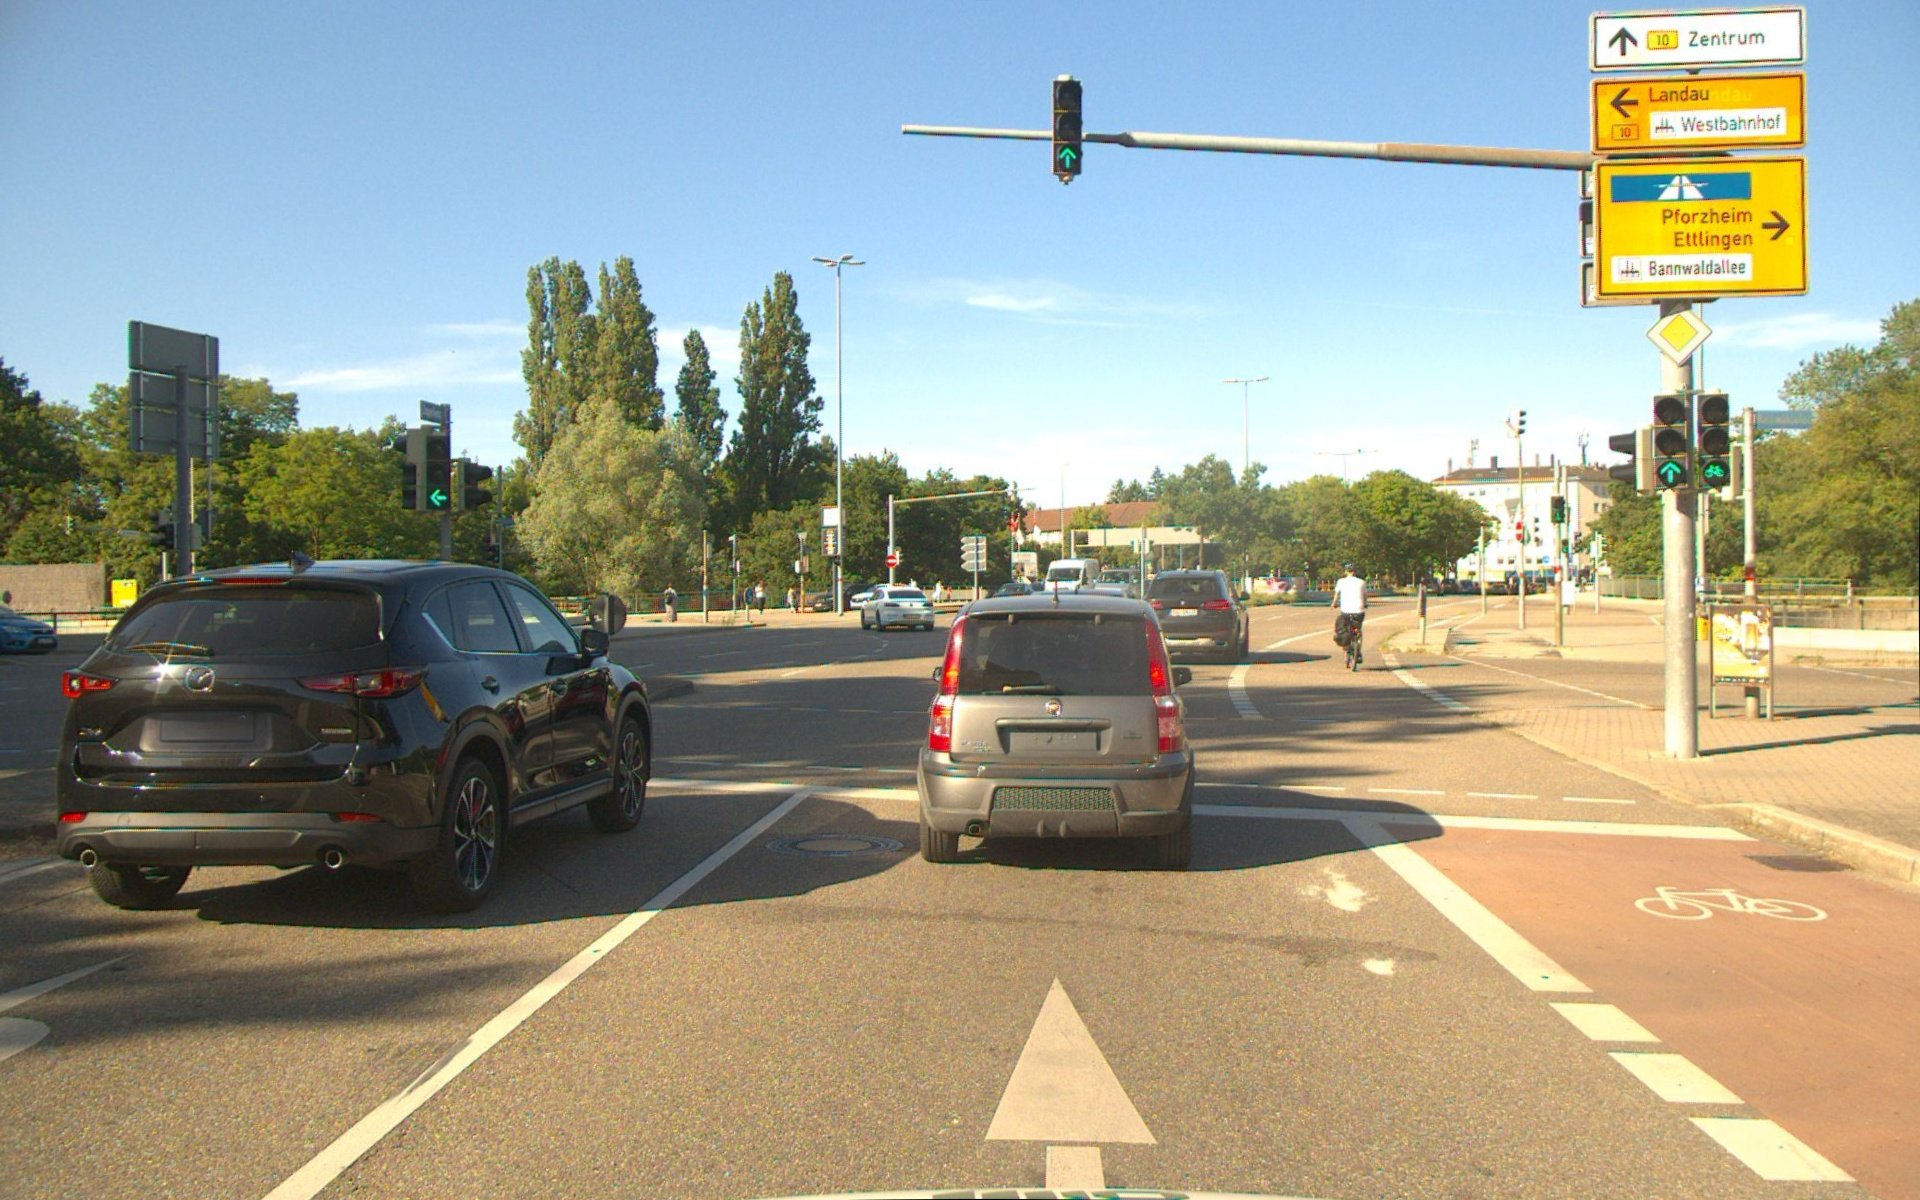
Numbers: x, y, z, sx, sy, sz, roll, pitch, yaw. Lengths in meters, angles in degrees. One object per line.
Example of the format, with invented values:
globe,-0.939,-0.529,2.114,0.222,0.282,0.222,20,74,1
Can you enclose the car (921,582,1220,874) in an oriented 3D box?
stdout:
car,0.711,0.665,10.812,1.583,1.542,3.822,1,1,4

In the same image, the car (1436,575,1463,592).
car,44.692,-1.487,150.941,1.906,1.555,4.096,0,1,23

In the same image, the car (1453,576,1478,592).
car,51.095,-1.641,167.193,1.906,1.555,4.096,0,1,23

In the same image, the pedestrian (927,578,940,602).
pedestrian,-1.837,-0.704,115.953,0.705,1.670,0.672,0,-1,20

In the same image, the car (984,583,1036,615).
car,2.558,-0.060,84.274,1.895,1.534,4.004,-2,0,12

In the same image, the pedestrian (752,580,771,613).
pedestrian,-9.798,-0.174,81.724,0.700,1.574,0.723,-1,-1,-25

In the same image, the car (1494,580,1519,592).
car,72.159,-1.837,218.432,1.913,1.555,4.081,0,1,37

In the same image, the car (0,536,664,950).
car,-3.062,0.591,9.084,1.835,1.739,4.199,-1,0,4

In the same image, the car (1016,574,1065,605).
car,4.466,-0.599,91.285,1.772,1.568,4.621,-2,0,14

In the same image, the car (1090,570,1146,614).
car,7.662,-0.429,79.884,1.895,2.043,4.935,-1,1,15

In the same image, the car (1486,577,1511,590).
car,65.567,-1.996,201.301,1.910,1.555,4.088,0,1,32

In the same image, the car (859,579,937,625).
car,-2.058,0.044,53.706,1.750,1.439,4.305,-1,1,-13

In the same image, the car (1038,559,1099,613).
car,5.527,-0.727,83.337,1.895,2.621,6.093,-1,1,15

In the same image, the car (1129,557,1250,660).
car,4.566,0.143,32.385,1.904,1.872,4.156,-1,0,14

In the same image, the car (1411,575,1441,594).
car,38.629,-1.288,136.944,1.906,1.555,4.097,0,1,22

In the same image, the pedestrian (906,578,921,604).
pedestrian,-3.088,-0.597,110.964,0.774,1.693,0.629,0,-1,28

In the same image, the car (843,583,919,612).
car,-4.459,-0.166,93.997,1.754,1.562,4.300,1,2,43

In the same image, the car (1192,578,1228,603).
car,17.508,-0.683,115.899,1.895,1.650,4.509,-1,1,16

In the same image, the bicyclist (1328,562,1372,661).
bicyclist,6.790,0.192,28.811,0.708,1.688,1.114,1,1,12

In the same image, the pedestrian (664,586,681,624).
pedestrian,-11.490,0.204,66.049,0.667,1.489,0.701,-1,0,-11

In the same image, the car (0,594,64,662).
car,-24.381,0.673,40.085,4.348,1.567,1.953,-1,0,8

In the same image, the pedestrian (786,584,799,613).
pedestrian,-9.128,-0.074,90.004,0.548,1.574,0.572,-1,-1,-21

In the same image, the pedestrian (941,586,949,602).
pedestrian,-1.070,-0.412,115.821,0.414,1.156,0.398,0,-1,20

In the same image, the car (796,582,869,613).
car,-7.393,-0.132,96.024,3.968,1.654,1.870,2,-2,-44

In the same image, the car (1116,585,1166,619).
car,9.333,0.088,85.123,1.895,1.650,4.509,-1,1,15

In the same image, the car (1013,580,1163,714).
car,1.674,0.511,20.609,1.583,1.488,3.754,1,1,8

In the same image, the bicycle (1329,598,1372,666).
bicycle,6.785,0.531,28.813,0.676,1.121,1.828,1,1,12

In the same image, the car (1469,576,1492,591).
car,55.624,-1.778,176.665,1.906,1.555,4.096,0,1,23
